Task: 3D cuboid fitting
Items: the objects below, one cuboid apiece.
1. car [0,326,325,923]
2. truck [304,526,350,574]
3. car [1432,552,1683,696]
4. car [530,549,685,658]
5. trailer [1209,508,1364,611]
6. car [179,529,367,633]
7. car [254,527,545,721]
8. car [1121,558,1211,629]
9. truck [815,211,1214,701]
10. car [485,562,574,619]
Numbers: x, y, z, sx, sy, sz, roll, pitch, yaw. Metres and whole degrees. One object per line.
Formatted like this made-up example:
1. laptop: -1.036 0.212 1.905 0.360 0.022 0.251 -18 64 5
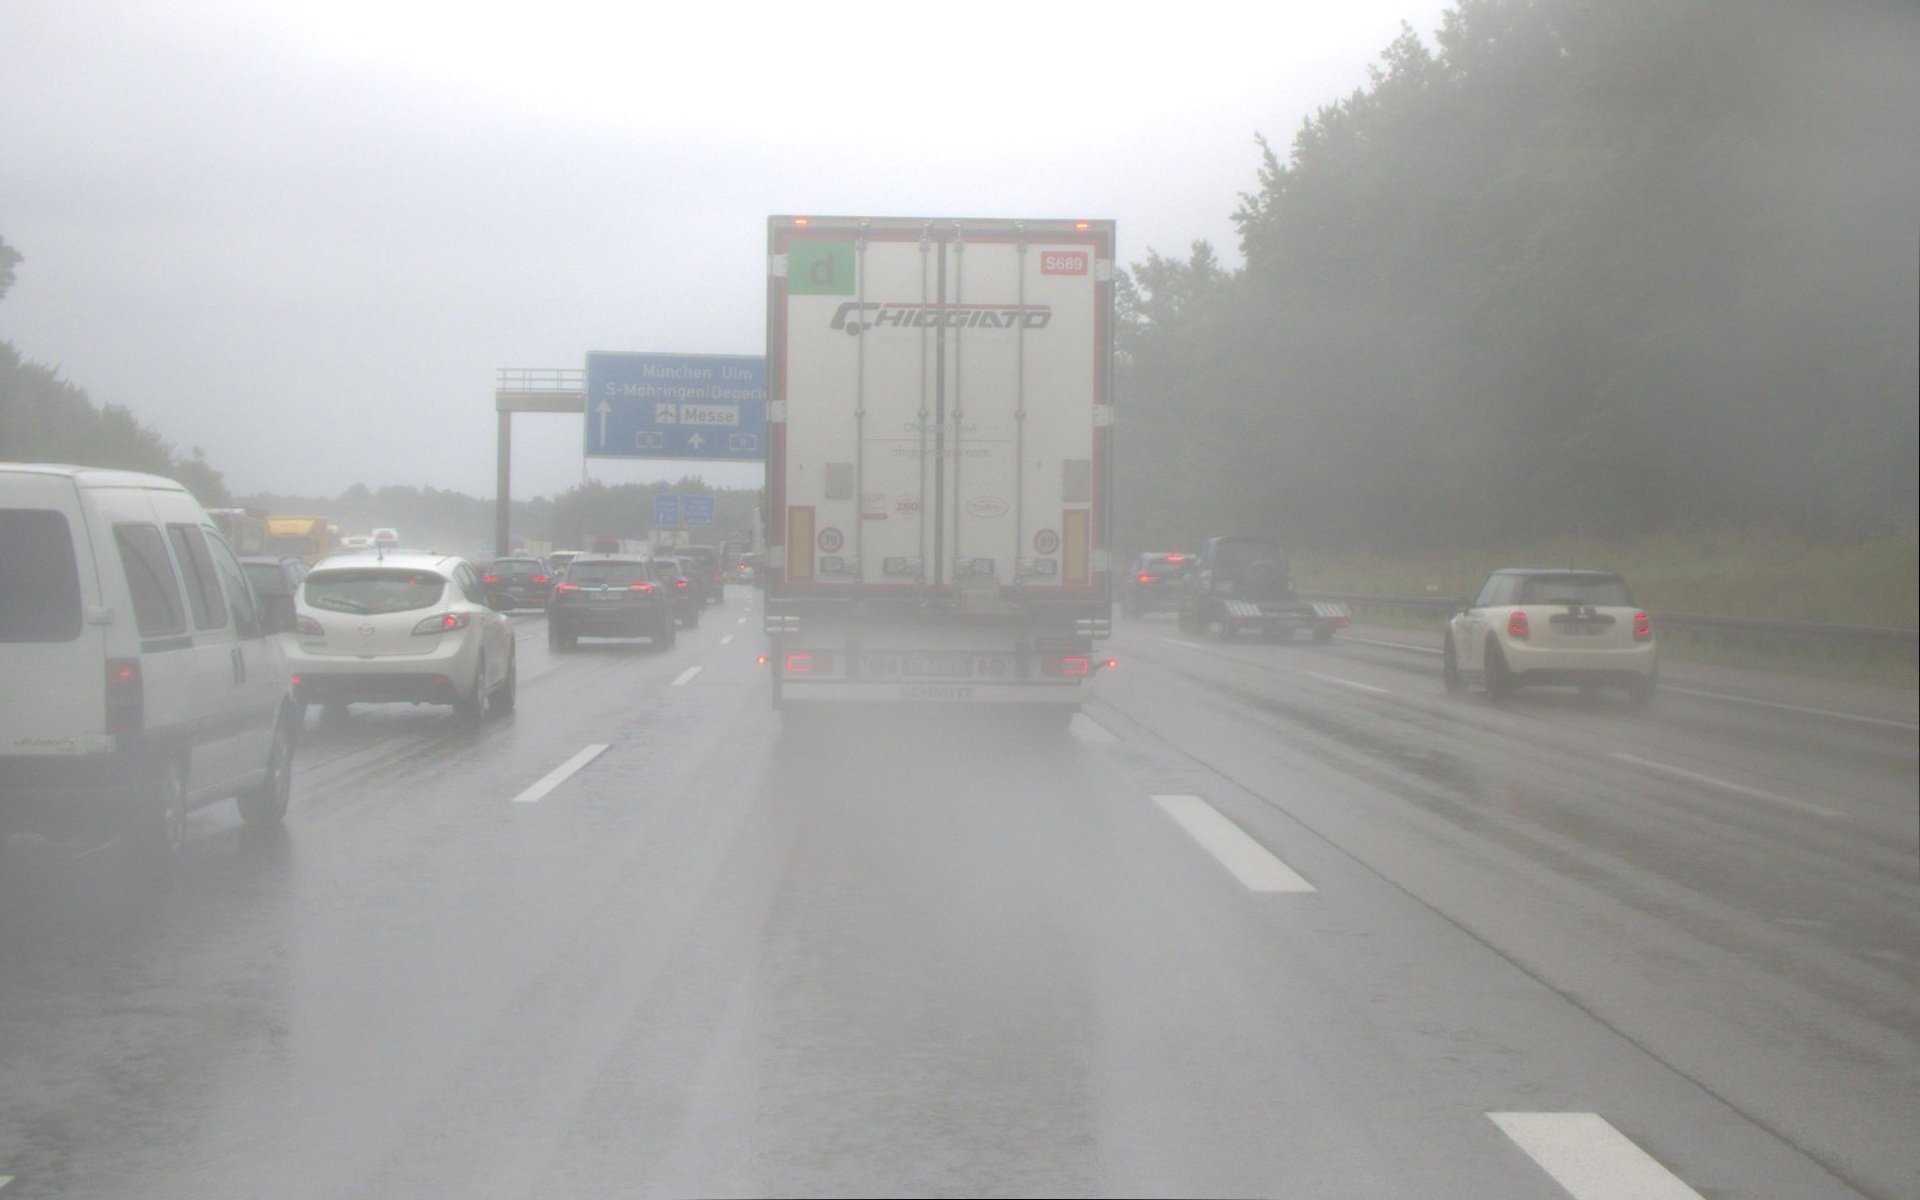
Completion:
1. car: -4.666 0.043 17.261 2.212 2.564 5.016 1 1 -3
2. truck: -47.831 -3.798 259.974 2.519 3.471 11.722 1 1 -6
3. car: 6.296 0.217 36.683 1.790 1.402 4.228 1 1 -2
4. car: -5.484 0.013 53.986 1.845 1.586 4.466 1 1 1
5. trailer: 5.731 -0.744 60.985 2.243 1.709 5.082 1 1 0
6. car: -9.311 -0.289 46.906 1.845 1.326 4.467 1 1 -2
7. car: -4.905 0.155 30.604 1.845 1.586 4.072 1 1 1
8. car: 4.878 -0.176 81.838 1.990 1.578 4.767 1 1 2
9. truck: 0.406 -1.108 30.791 2.872 3.550 11.302 1 1 0
10. car: -10.761 -0.265 86.117 1.845 1.326 4.467 1 1 -2
